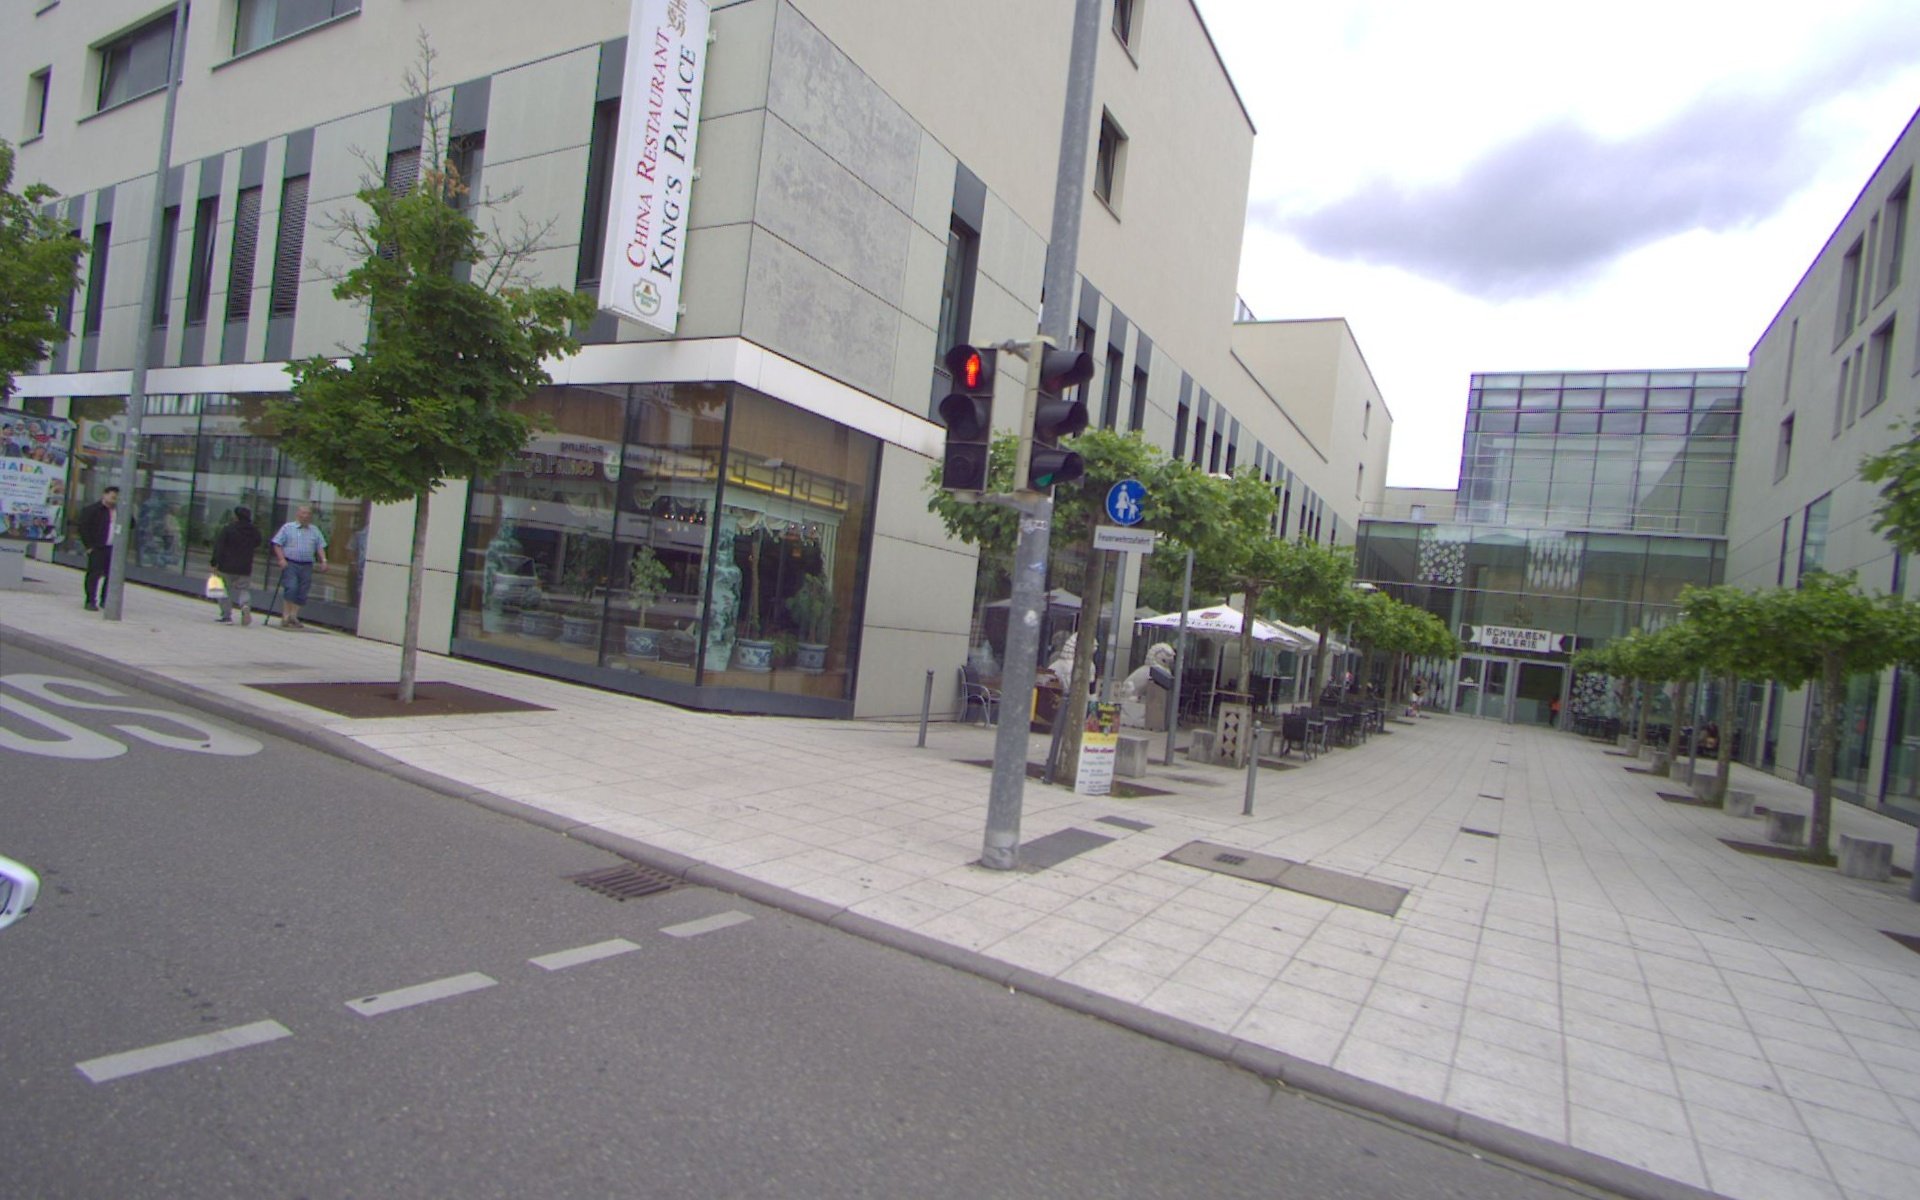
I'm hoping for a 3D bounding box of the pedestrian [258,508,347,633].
[{"bbox_3d":[-9.473,-0.416,14.512,0.604,1.689,0.745,7,1,31],"label":"pedestrian"}]

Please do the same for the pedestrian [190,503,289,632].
[{"bbox_3d":[-9.798,-0.432,13.692,0.703,1.628,0.741,7,0,31],"label":"pedestrian"}]

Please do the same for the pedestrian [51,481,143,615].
[{"bbox_3d":[-11.556,-0.690,13.472,0.604,1.689,0.656,7,1,31],"label":"pedestrian"}]
